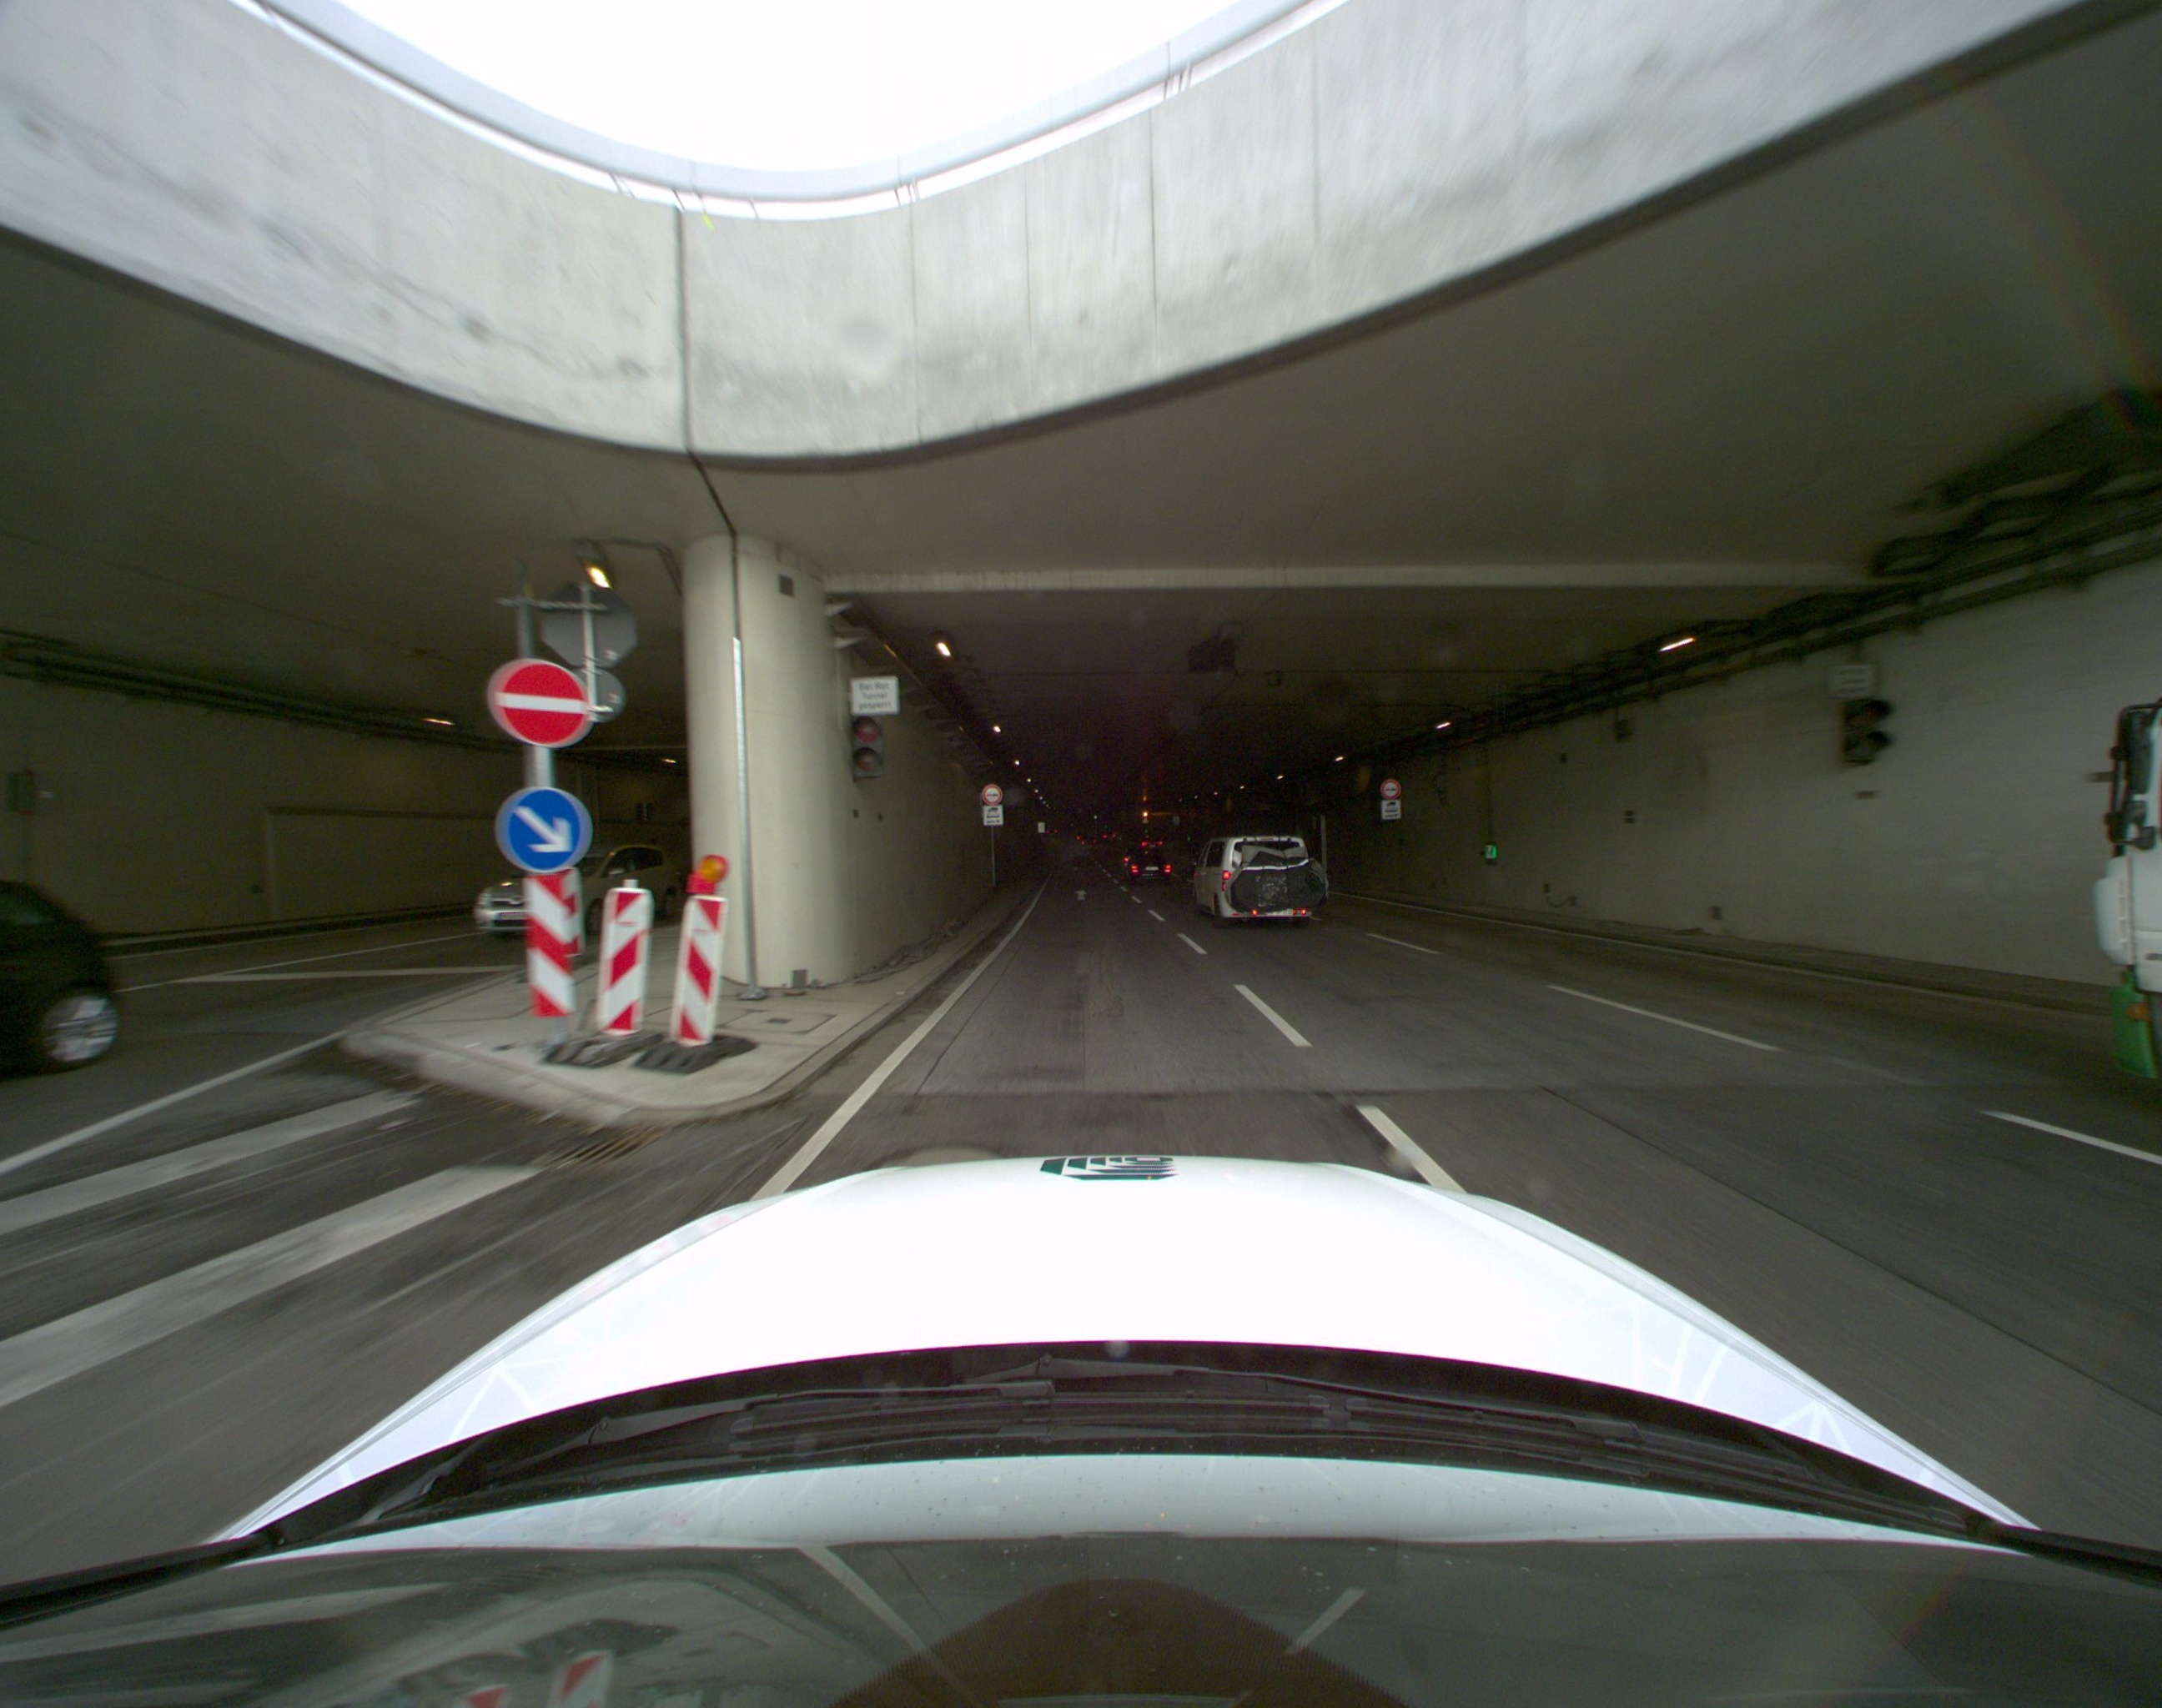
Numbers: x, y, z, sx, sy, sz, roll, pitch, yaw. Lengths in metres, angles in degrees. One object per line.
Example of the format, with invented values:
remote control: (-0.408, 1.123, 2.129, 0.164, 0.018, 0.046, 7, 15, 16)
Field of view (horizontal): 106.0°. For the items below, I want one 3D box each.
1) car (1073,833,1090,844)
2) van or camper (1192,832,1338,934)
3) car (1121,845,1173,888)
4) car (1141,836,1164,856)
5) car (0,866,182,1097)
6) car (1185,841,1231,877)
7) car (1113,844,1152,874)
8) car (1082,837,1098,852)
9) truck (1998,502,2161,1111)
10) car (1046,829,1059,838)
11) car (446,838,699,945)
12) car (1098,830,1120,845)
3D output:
car: (0.015, -1.879, 101.376, 1.663, 1.247, 3.557, -1, 0, -8)
van or camper: (3.690, 0.528, 17.432, 1.986, 1.845, 5.508, 0, 0, 1)
car: (2.807, 0.501, 35.372, 1.814, 1.683, 3.998, 0, 1, -2)
car: (6.249, -0.694, 71.320, 1.655, 1.633, 3.567, 2, 1, 0)
car: (-7.569, 0.857, 4.445, 1.668, 1.441, 4.090, -1, 1, -17)
car: (6.796, 0.246, 43.975, 1.813, 1.749, 3.999, 2, 1, -1)
car: (3.026, 0.280, 48.441, 1.815, 1.580, 3.996, 2, 1, -3)
car: (0.909, -0.990, 85.231, 1.655, 1.488, 3.566, -1, 0, 0)
truck: (6.816, -0.219, 1.278, 2.638, 3.184, 7.433, -2, 1, 3)
car: (-4.456, -3.136, 126.345, 1.509, 1.247, 3.553, -1, 0, -12)
car: (-9.355, 0.561, 15.579, 1.803, 1.604, 4.786, -2, 2, -1)
car: (3.419, -1.990, 100.945, 1.988, 1.676, 4.497, -1, 0, -7)
